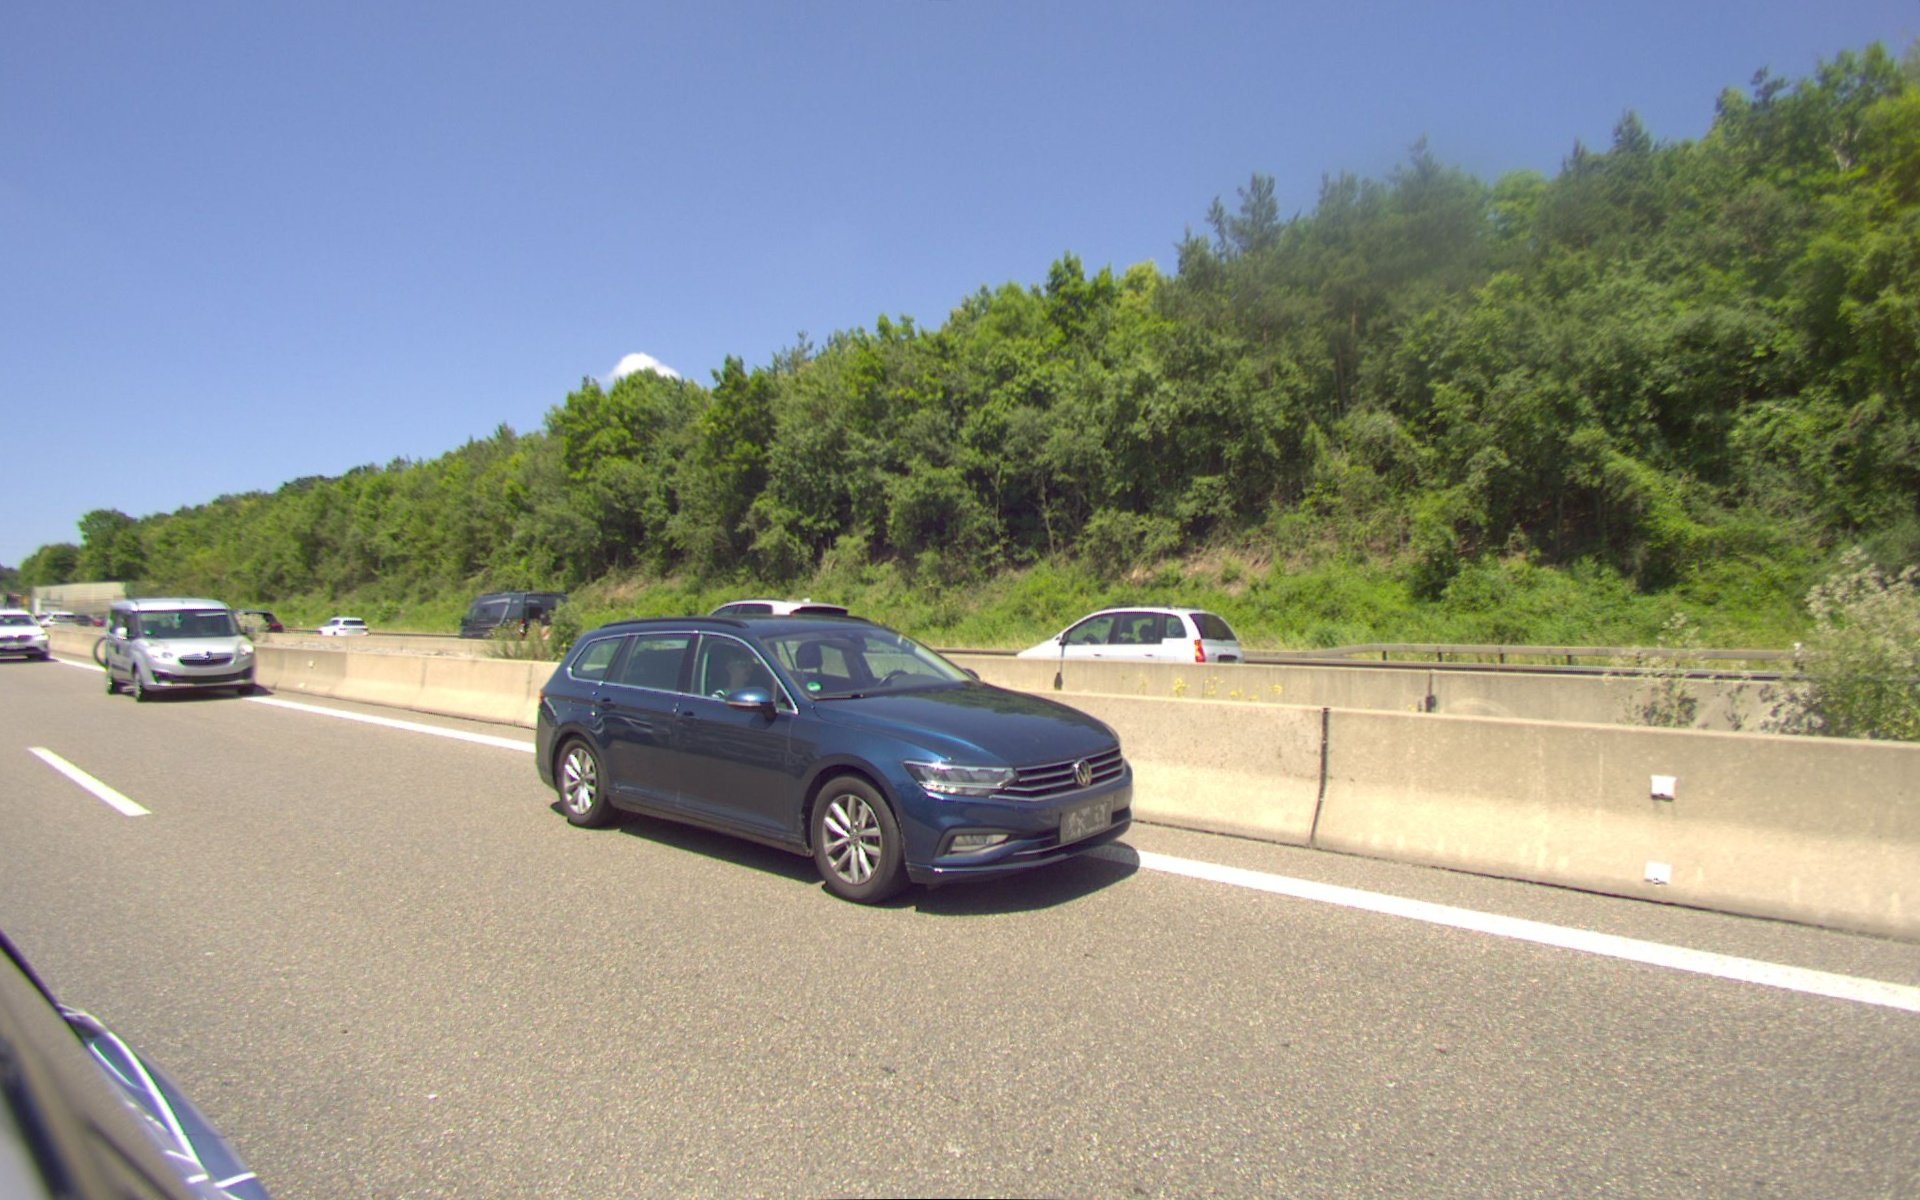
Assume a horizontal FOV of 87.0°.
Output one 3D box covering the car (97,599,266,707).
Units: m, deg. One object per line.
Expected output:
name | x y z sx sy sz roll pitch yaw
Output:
car | -14.921 0.881 19.277 4.919 1.786 1.832 0 0 44

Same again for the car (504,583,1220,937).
car | -0.932 0.714 6.441 4.676 1.461 1.854 -2 -1 42

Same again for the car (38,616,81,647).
car | -63.567 2.207 71.428 4.349 2.029 1.971 0 0 44

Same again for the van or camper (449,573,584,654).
van or camper | -17.176 0.454 38.954 6.650 2.880 2.132 0 0 41

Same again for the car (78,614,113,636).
car | -86.074 2.502 100.727 4.363 2.029 2.101 0 0 42

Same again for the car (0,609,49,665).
car | -31.342 1.175 33.142 3.999 1.719 1.800 0 0 42

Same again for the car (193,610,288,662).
car | -27.707 1.417 38.935 4.511 1.705 1.973 -6 -5 40

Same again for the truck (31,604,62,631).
truck | -141.054 2.602 156.242 7.988 4.019 2.664 0 0 42

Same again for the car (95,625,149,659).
car | -44.404 2.205 53.604 3.833 1.583 1.759 0 1 44

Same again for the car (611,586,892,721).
car | -3.795 0.856 17.746 5.384 2.029 1.973 -1 -1 41

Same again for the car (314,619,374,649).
car | -39.279 2.140 64.496 4.511 1.705 1.973 0 0 41

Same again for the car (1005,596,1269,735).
car | 2.868 0.994 16.851 3.925 2.029 1.892 -1 -1 41
